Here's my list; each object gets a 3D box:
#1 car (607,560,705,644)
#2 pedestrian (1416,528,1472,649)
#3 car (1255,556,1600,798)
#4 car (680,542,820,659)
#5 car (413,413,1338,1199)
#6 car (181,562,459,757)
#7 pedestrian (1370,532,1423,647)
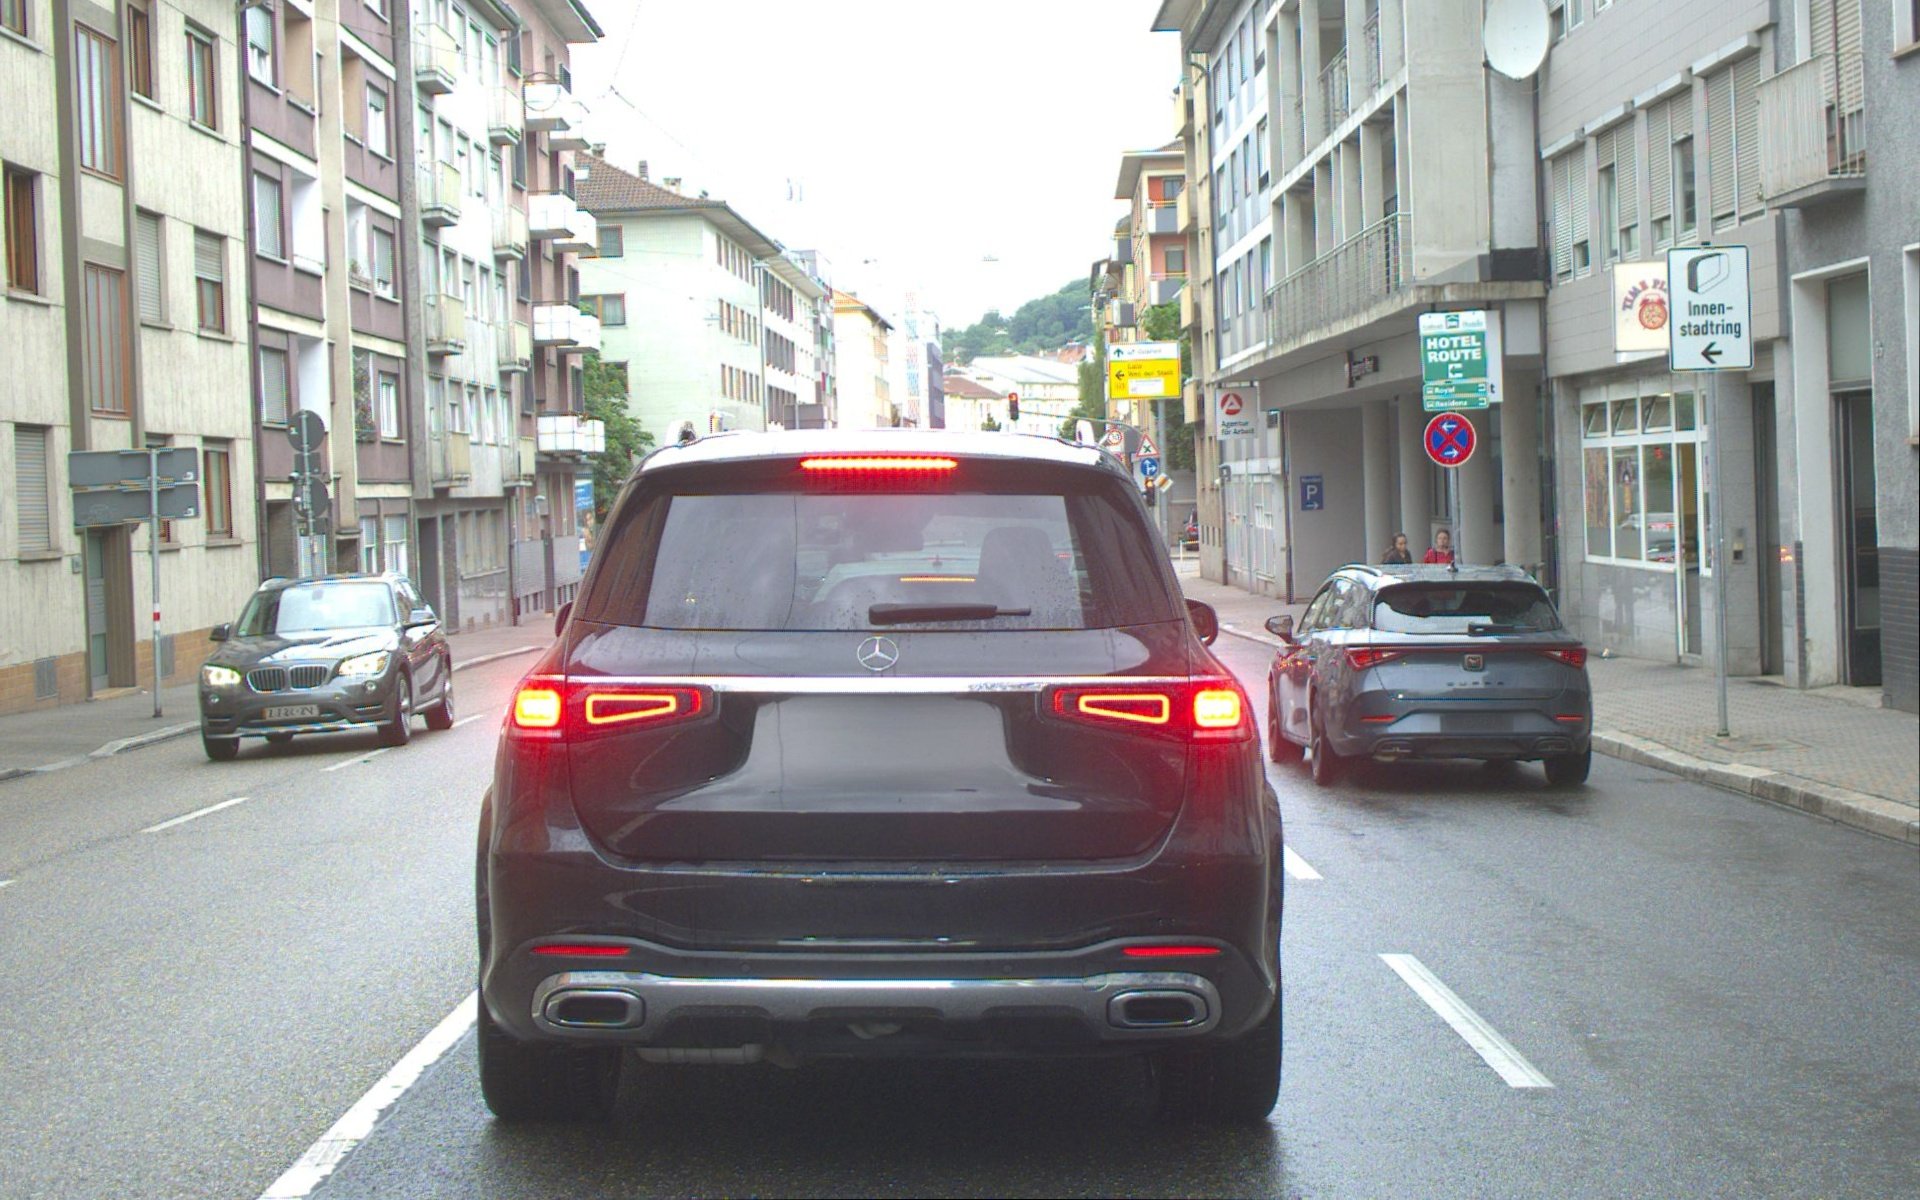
[{"bbox_3d":[-6.311,0.008,71.741,1.797,1.579,4.317,-3,1,-3],"label":"car"},{"bbox_3d":[6.434,-0.156,45.707,0.560,1.573,0.526,-4,1,-1],"label":"pedestrian"},{"bbox_3d":[3.032,0.444,23.088,1.621,1.425,4.312,1,1,-1],"label":"car"},{"bbox_3d":[-3.441,-0.028,57.033,1.836,1.721,4.474,-4,1,1],"label":"car"},{"bbox_3d":[-0.226,0.466,9.641,2.025,1.799,4.000,1,1,-1],"label":"car"},{"bbox_3d":[-5.683,0.475,30.966,1.703,1.502,4.160,-4,1,-1],"label":"car"},{"bbox_3d":[5.795,-0.142,45.677,0.506,1.495,0.562,-4,1,-4],"label":"pedestrian"}]
